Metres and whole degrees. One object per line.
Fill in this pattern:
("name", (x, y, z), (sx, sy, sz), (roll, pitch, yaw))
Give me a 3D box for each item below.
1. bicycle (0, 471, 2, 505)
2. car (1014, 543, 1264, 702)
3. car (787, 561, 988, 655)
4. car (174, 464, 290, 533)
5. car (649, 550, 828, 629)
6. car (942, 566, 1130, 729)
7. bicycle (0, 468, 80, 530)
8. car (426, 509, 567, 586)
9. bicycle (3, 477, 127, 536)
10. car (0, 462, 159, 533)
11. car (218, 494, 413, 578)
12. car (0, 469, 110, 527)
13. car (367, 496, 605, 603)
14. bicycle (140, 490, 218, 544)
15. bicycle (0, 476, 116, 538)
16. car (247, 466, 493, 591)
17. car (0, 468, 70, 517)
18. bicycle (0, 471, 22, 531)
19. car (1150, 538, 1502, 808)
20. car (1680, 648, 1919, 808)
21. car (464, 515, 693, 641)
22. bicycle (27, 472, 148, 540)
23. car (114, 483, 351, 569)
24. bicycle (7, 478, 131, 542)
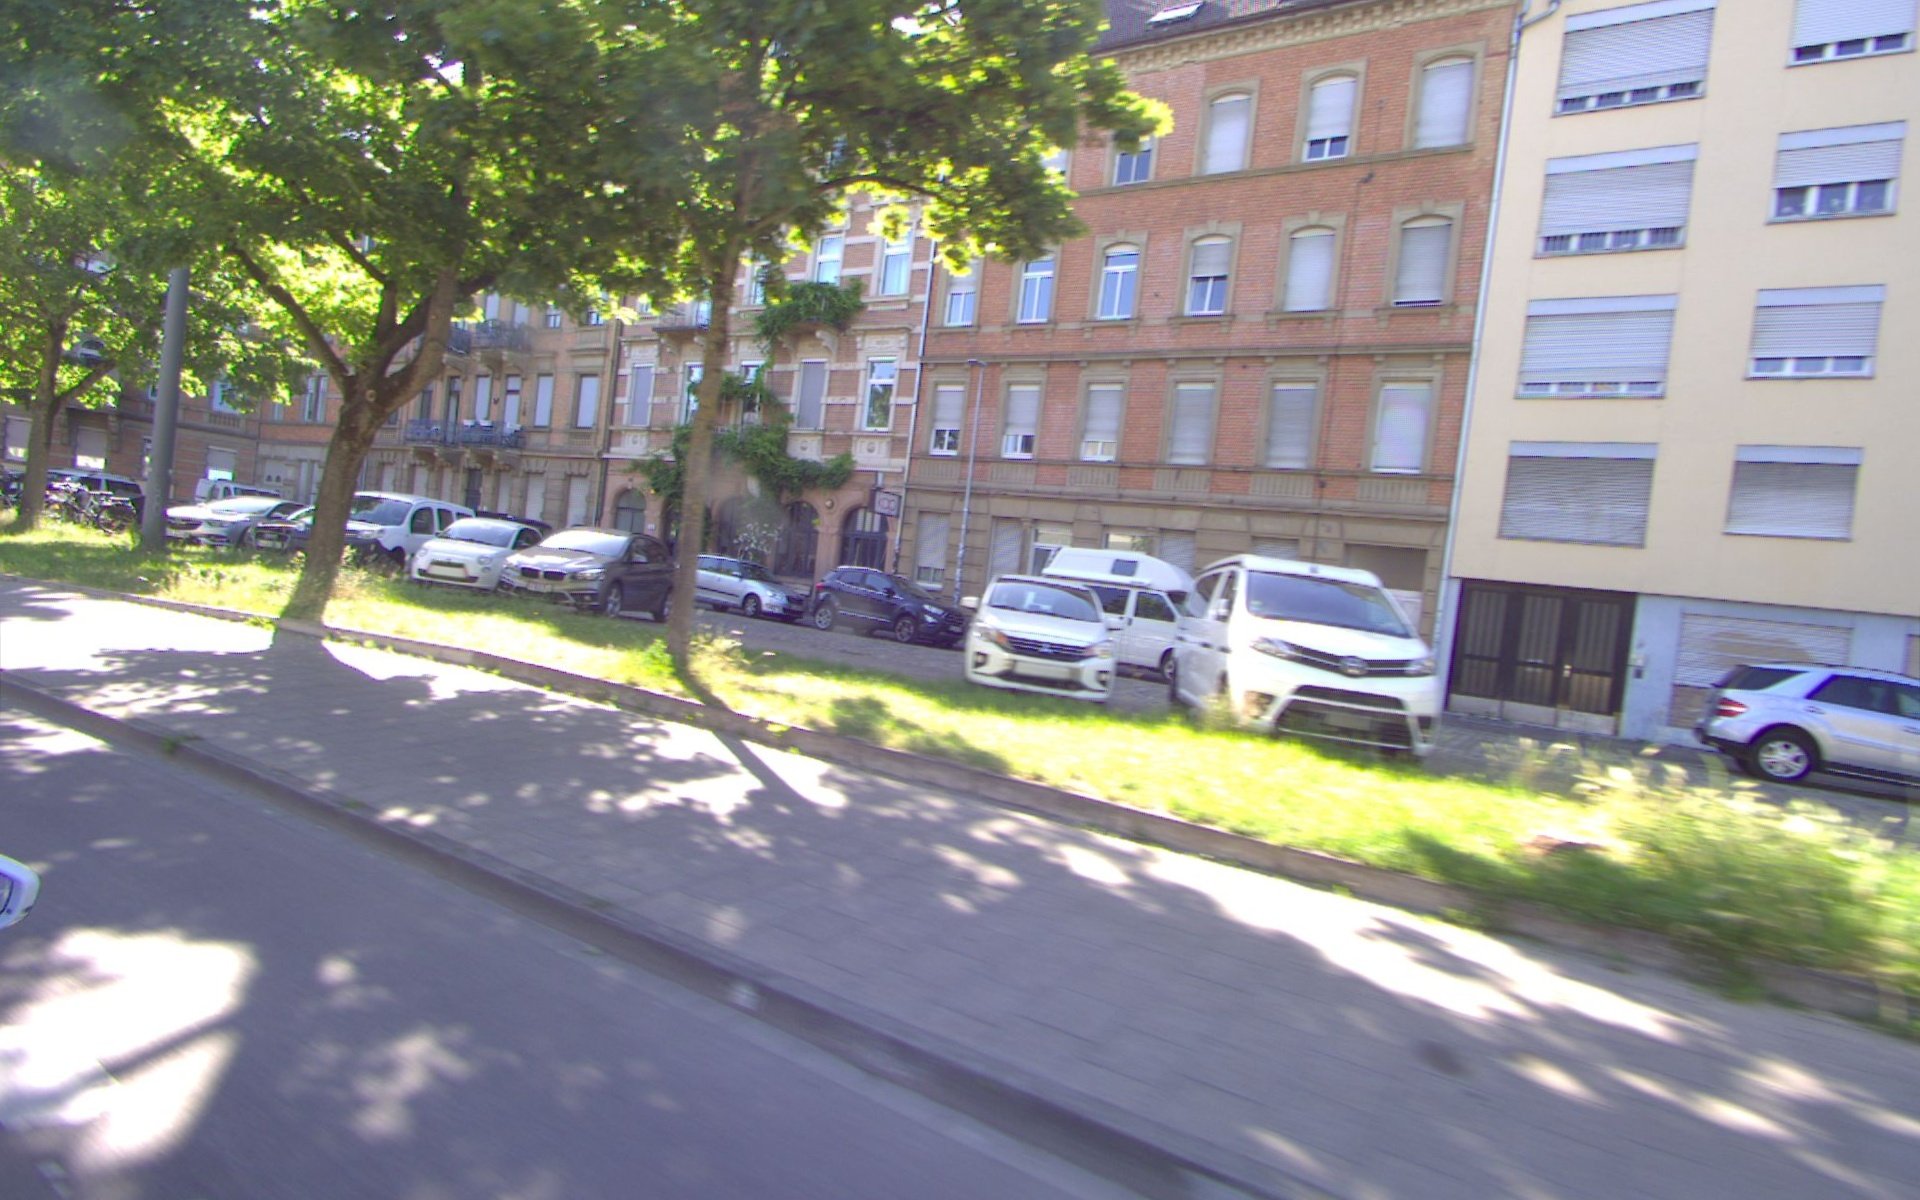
("bicycle", (-21.839, -2.253, 21.876), (0.758, 1.307, 1.591), (6, 2, -17))
("car", (3.643, 0.401, 20.833), (4.441, 2.620, 1.993), (8, 3, 35))
("car", (-1.807, 0.178, 24.466), (4.440, 1.712, 1.994), (7, 1, 34))
("car", (-31.256, -4.375, 43.141), (5.104, 2.389, 2.348), (8, 3, 34))
("car", (-6.017, -0.295, 27.192), (4.435, 1.549, 1.995), (8, 3, 29))
("car", (0.771, 0.429, 12.275), (1.779, 1.498, 4.026), (6, 2, 0))
("bicycle", (-25.045, -2.737, 26.879), (0.773, 1.416, 2.099), (7, 0, 22))
("car", (-15.337, -1.752, 33.228), (4.647, 2.004, 1.993), (8, 3, 33))
("bicycle", (-23.000, -2.394, 25.902), (0.808, 1.173, 2.166), (7, 0, 29))
("car", (-27.248, -3.118, 30.632), (1.902, 1.585, 4.470), (7, 0, 2))
("car", (-14.117, -1.337, 22.302), (1.890, 1.397, 3.613), (7, 0, 0))
("car", (-29.756, -3.324, 31.953), (1.726, 1.459, 3.845), (7, 0, 12))
("car", (-9.188, -0.942, 20.077), (2.061, 1.670, 4.877), (6, 2, 4))
("bicycle", (-23.405, -2.466, 30.195), (0.774, 1.382, 2.097), (6, 0, -7))
("bicycle", (-21.359, -2.177, 23.776), (0.828, 1.207, 1.957), (7, 2, 32))
("car", (-11.762, -1.349, 20.562), (2.062, 2.040, 4.875), (6, 2, -1))
("car", (-31.856, -3.692, 32.690), (1.804, 1.354, 4.058), (7, 0, 10))
("bicycle", (-23.551, -2.466, 23.556), (0.773, 1.382, 2.097), (7, 0, 27))
("car", (3.517, 0.553, 10.969), (2.061, 2.040, 5.183), (6, 2, 4))
("car", (13.421, 1.923, 14.570), (4.550, 1.824, 1.993), (8, 3, 33))
("car", (-6.501, -0.389, 17.784), (1.962, 1.750, 4.510), (6, 2, 4))
("bicycle", (-22.117, -2.359, 25.542), (0.773, 1.382, 2.097), (7, 0, 27))
("car", (-16.747, -1.628, 23.548), (2.008, 1.397, 4.751), (7, 0, 0))
("bicycle", (-20.573, -2.067, 23.272), (0.885, 1.196, 1.945), (7, 2, 32))
